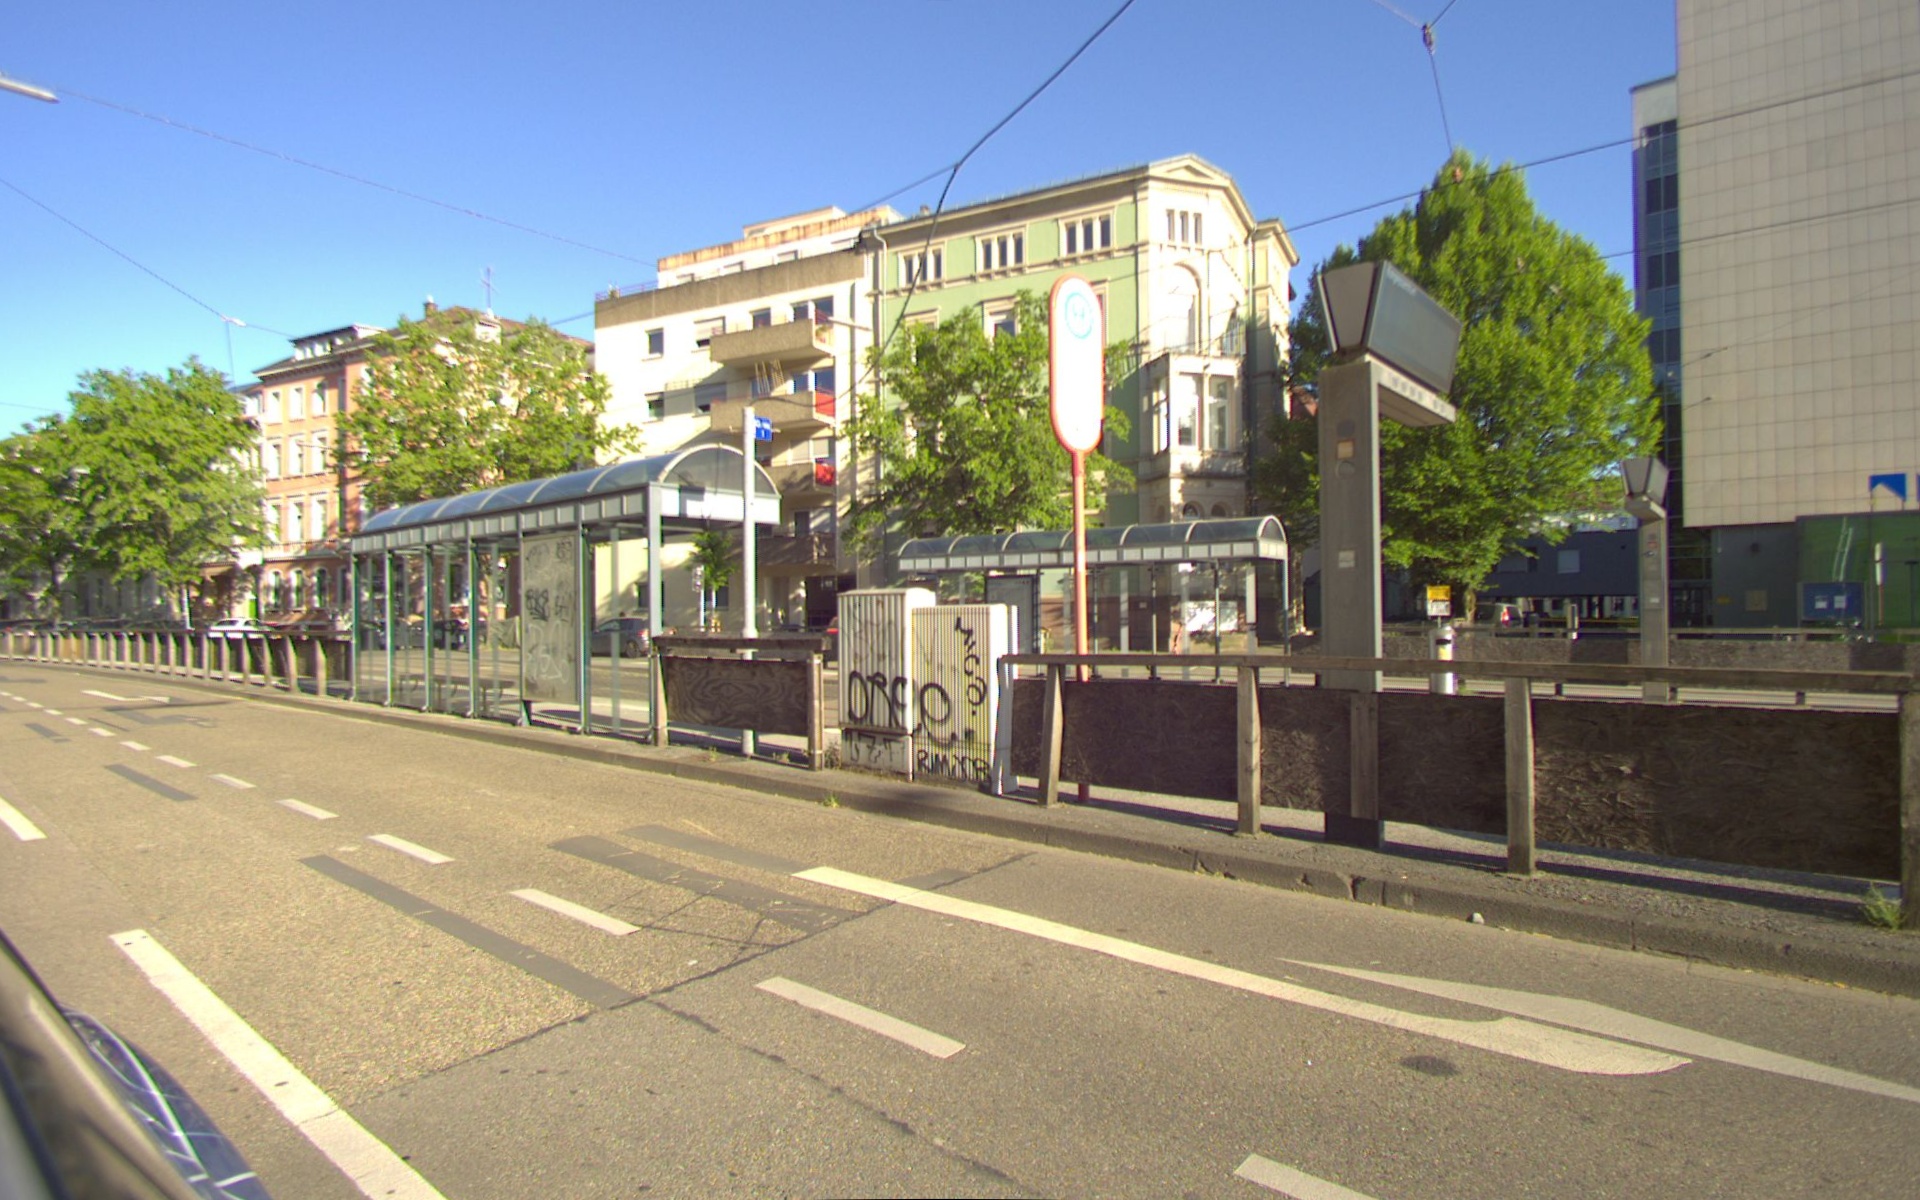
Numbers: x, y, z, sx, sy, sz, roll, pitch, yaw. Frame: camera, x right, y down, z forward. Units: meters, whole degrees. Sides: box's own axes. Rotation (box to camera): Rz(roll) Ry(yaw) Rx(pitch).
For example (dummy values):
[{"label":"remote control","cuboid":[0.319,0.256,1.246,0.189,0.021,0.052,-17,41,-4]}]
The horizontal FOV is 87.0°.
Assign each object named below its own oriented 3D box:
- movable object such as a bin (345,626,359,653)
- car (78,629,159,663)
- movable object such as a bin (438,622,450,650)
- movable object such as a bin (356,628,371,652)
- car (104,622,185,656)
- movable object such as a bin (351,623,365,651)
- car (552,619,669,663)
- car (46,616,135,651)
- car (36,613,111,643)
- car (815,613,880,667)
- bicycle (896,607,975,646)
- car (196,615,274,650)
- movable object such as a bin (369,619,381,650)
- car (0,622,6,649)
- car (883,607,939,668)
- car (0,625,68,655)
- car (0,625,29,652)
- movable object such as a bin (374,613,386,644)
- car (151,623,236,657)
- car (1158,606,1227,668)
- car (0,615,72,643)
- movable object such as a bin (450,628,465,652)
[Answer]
[{"label":"movable object such as a bin","cuboid":[-28.093,1.818,46.754,0.639,1.212,0.375,-2,-1,40]},{"label":"car","cuboid":[-47.470,2.549,57.182,1.609,1.629,3.993,-2,1,-7]},{"label":"movable object such as a bin","cuboid":[-24.807,1.728,48.619,0.387,1.322,0.376,-1,-1,34]},{"label":"movable object such as a bin","cuboid":[-27.050,1.792,45.878,0.639,1.076,0.375,-2,-1,40]},{"label":"car","cuboid":[-44.949,2.105,55.890,1.609,1.629,3.993,-2,1,-7]},{"label":"movable object such as a bin","cuboid":[-27.572,1.679,46.321,0.639,1.251,0.375,-2,-1,40]},{"label":"car","cuboid":[-12.748,1.487,36.824,4.278,1.421,1.693,-1,2,32]},{"label":"car","cuboid":[-50.789,1.951,59.248,1.682,1.735,4.291,-1,2,-4]},{"label":"car","cuboid":[-53.118,1.651,60.707,1.682,1.544,3.284,-2,2,-3]},{"label":"car","cuboid":[-3.429,1.170,31.335,1.845,1.436,4.521,-1,0,-5]},{"label":"bicycle","cuboid":[-0.926,0.999,37.927,2.995,1.409,0.713,-1,-1,27]},{"label":"car","cuboid":[-37.756,1.677,52.827,1.708,1.533,3.924,-2,1,-9]},{"label":"movable object such as a bin","cuboid":[-27.310,1.601,47.236,0.387,1.437,0.375,-2,-1,40]},{"label":"car","cuboid":[-67.235,2.498,68.326,1.760,1.812,4.202,-1,1,-1]},{"label":"car","cuboid":[-1.586,1.092,31.458,1.566,1.654,4.521,-1,0,-5]},{"label":"car","cuboid":[-58.426,2.486,63.378,1.748,1.666,3.871,-1,1,-1]},{"label":"car","cuboid":[-62.355,2.510,64.886,1.748,1.666,3.872,-1,1,-1]},{"label":"movable object such as a bin","cuboid":[-26.768,1.302,46.736,0.385,1.437,0.375,-2,-1,40]},{"label":"car","cuboid":[-40.666,2.084,53.787,1.664,1.519,3.926,-2,1,-4]},{"label":"car","cuboid":[6.741,1.023,29.638,1.572,1.581,4.504,0,0,8]},{"label":"car","cuboid":[-55.918,1.711,60.819,1.745,1.496,3.823,-1,1,-1]},{"label":"movable object such as a bin","cuboid":[-23.272,1.861,46.860,0.551,1.105,0.376,0,0,34]}]
